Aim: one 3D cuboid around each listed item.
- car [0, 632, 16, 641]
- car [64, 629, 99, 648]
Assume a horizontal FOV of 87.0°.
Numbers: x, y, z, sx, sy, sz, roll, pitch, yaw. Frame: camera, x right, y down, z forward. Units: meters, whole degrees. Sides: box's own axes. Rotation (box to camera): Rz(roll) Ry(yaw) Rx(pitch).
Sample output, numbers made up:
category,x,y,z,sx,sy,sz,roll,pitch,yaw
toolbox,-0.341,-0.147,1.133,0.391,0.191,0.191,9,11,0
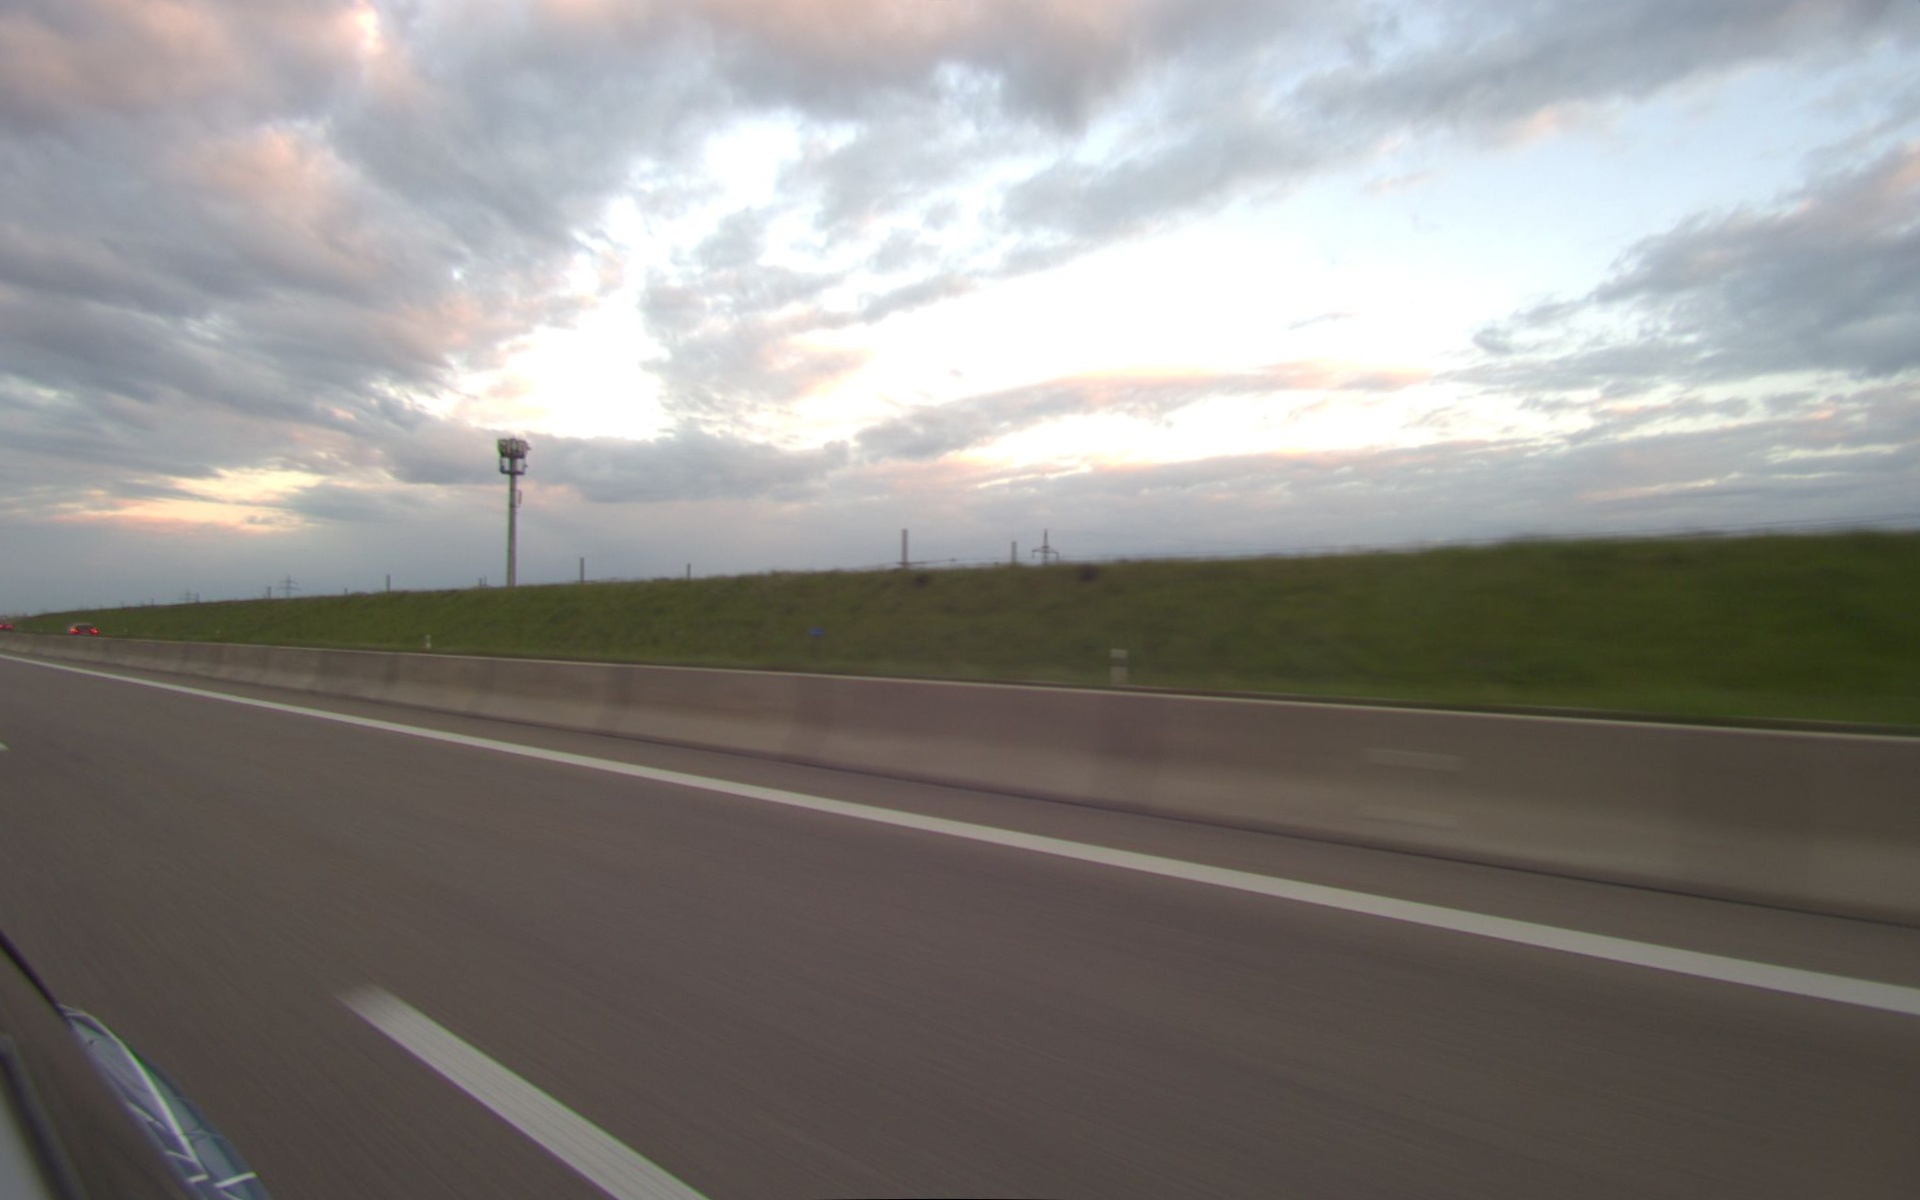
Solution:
category,x,y,z,sx,sy,sz,roll,pitch,yaw
car,-168.674,6.417,179.126,4.579,1.565,1.842,-1,-3,41
car,-76.779,3.364,88.448,4.105,1.604,1.833,-2,-3,42
